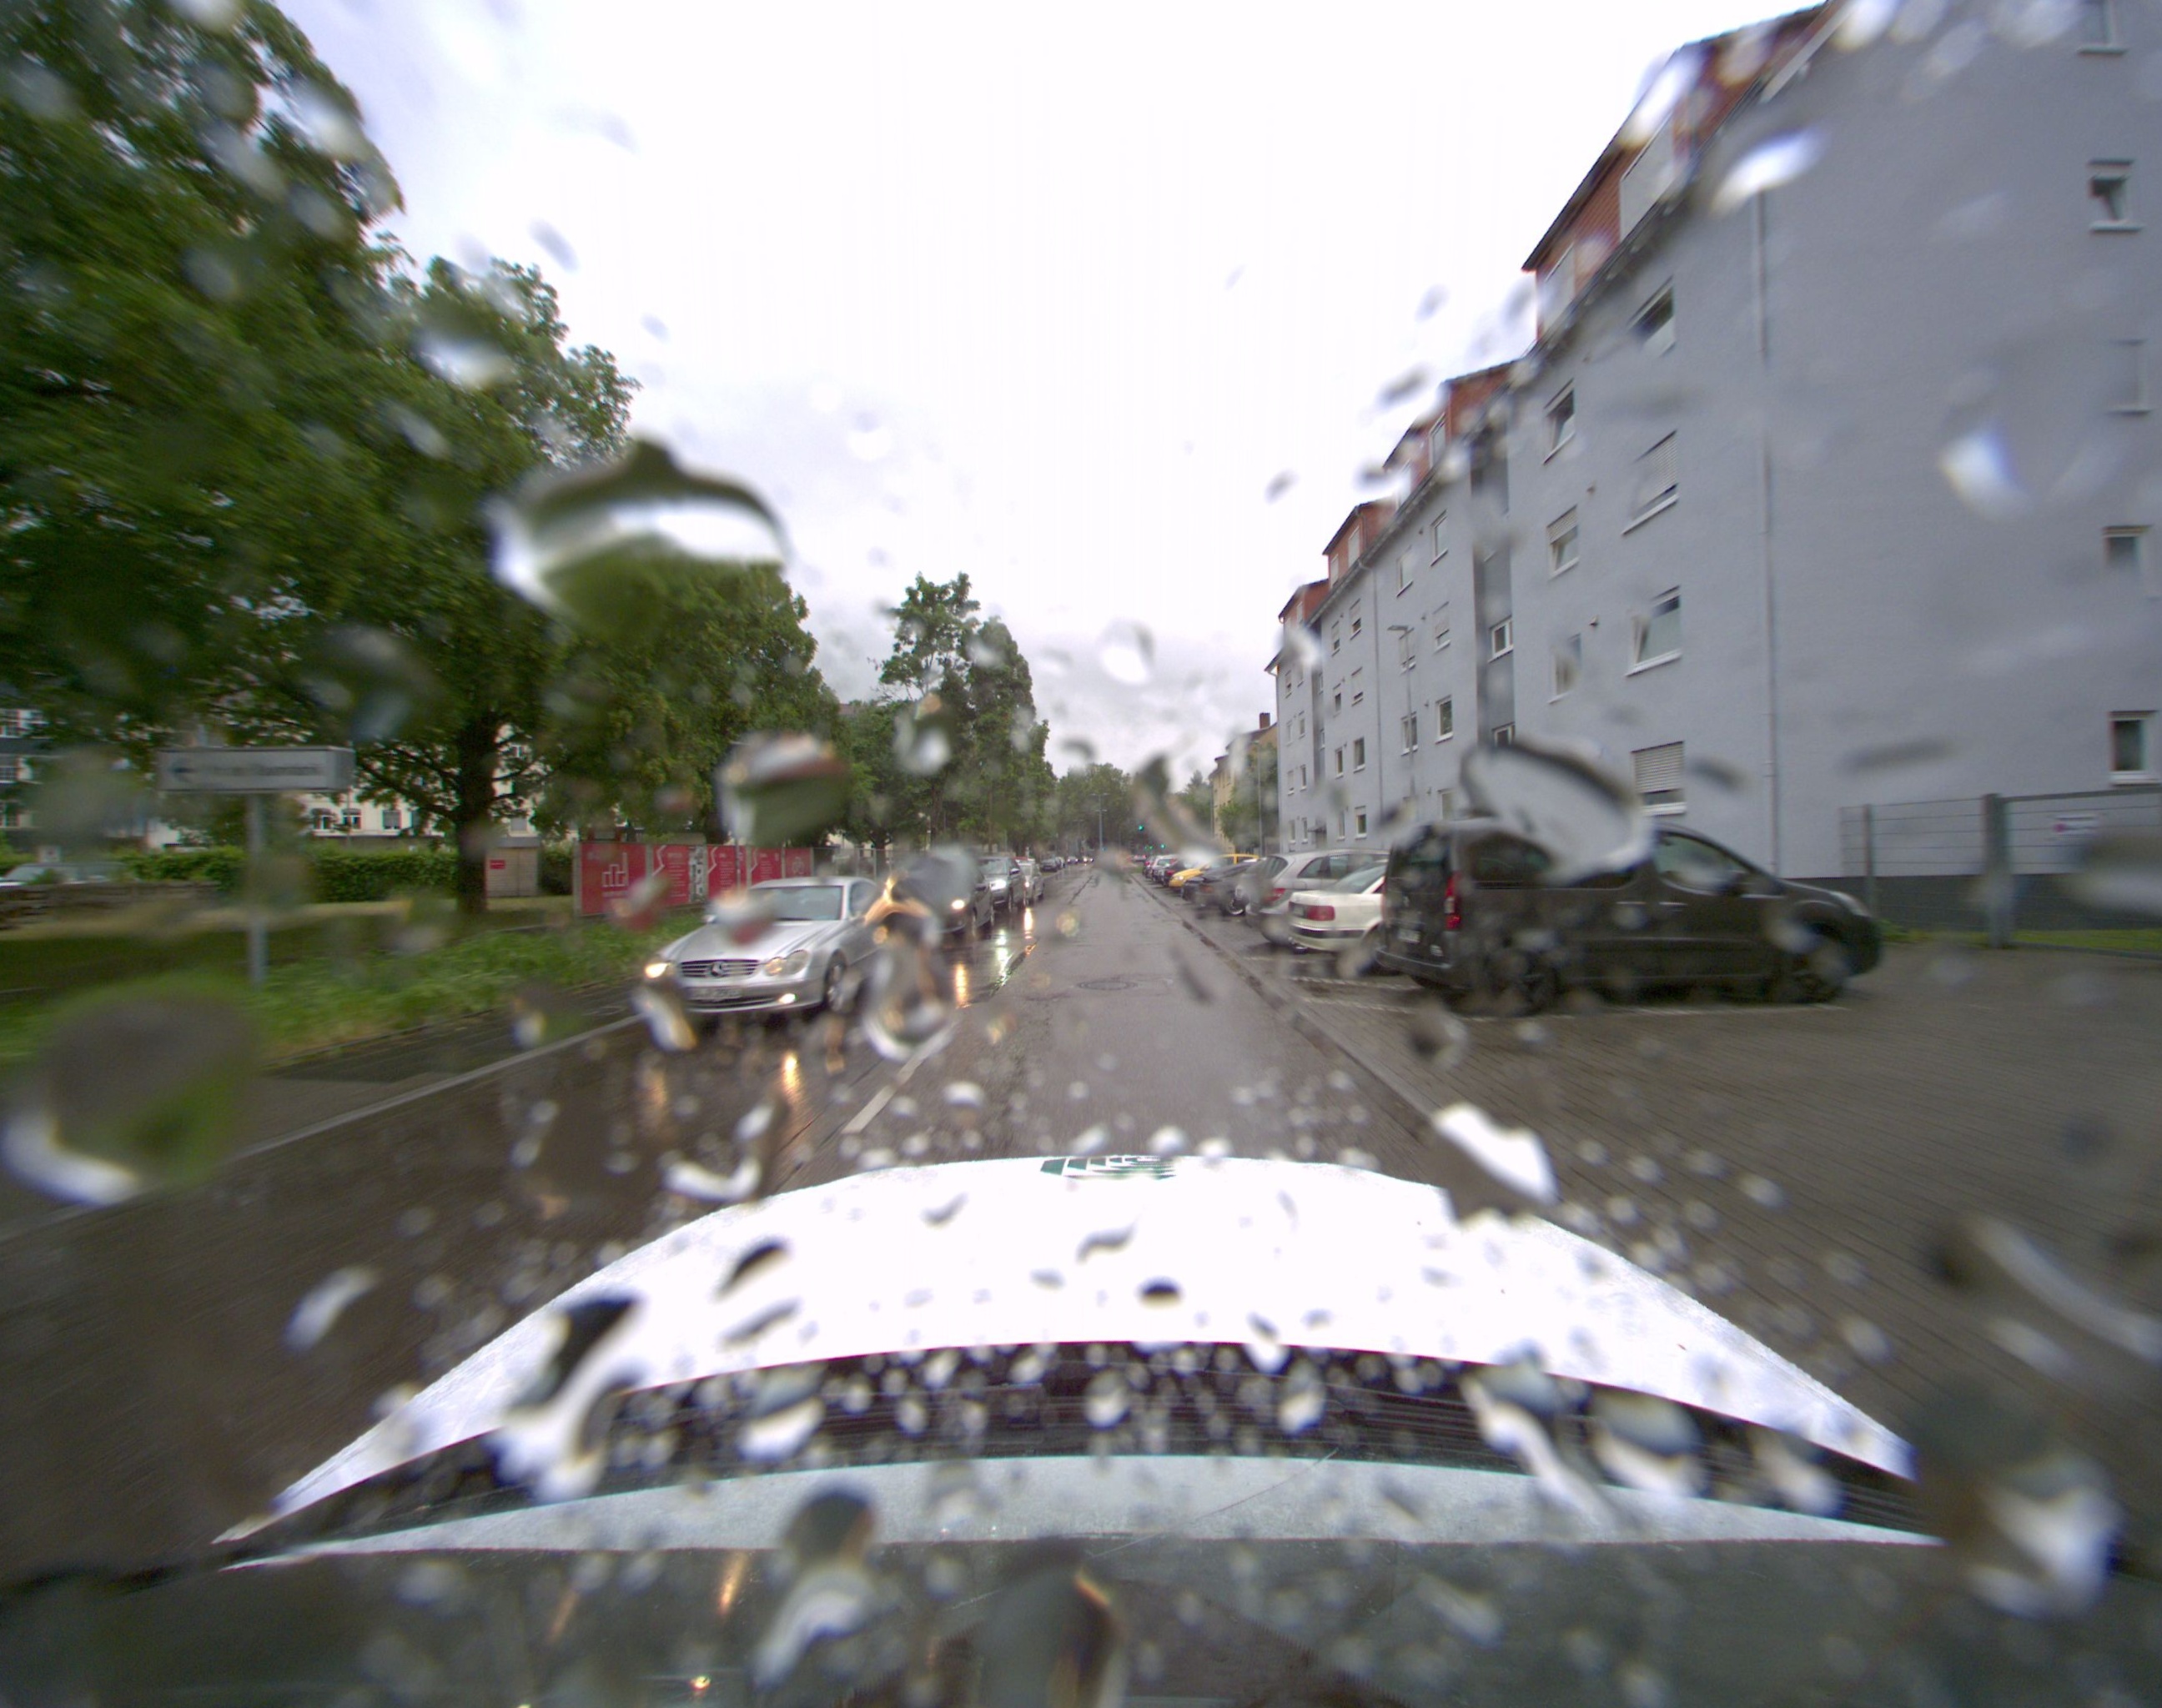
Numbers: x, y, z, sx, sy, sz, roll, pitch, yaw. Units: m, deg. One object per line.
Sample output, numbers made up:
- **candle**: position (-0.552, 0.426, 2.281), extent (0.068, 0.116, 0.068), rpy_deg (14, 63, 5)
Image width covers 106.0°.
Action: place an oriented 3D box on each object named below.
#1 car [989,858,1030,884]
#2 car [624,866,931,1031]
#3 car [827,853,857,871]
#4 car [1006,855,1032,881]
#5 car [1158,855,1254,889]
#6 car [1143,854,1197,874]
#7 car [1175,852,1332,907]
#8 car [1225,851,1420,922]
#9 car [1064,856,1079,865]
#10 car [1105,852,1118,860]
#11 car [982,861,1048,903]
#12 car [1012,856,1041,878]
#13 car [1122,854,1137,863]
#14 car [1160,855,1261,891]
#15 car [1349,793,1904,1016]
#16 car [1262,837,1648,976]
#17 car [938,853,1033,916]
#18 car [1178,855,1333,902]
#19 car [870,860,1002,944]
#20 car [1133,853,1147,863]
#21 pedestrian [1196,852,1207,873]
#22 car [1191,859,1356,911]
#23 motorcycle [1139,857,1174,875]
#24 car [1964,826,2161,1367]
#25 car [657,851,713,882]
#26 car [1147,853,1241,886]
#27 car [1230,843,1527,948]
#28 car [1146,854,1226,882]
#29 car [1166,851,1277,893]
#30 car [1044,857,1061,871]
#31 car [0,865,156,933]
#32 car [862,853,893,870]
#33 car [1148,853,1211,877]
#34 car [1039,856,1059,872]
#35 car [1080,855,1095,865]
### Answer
- **car**: position (-4.101, 0.956, 47.344), extent (1.653, 1.460, 4.179), rpy_deg (0, -1, 5)
- **car**: position (-3.105, 0.867, 9.562), extent (1.769, 1.403, 4.829), rpy_deg (0, -1, 0)
- **car**: position (-20.278, 0.688, 68.999), extent (1.715, 1.434, 3.615), rpy_deg (0, -1, -30)
- **car**: position (-3.999, 0.909, 52.715), extent (1.622, 1.598, 4.195), rpy_deg (0, -1, -4)
- **car**: position (5.550, 0.784, 36.577), extent (4.080, 1.458, 2.002), rpy_deg (-1, 0, 3)
- **car**: position (6.702, 0.787, 61.886), extent (3.971, 1.461, 1.935), rpy_deg (0, -1, 2)
- **car**: position (4.868, 0.722, 23.477), extent (4.128, 1.486, 2.013), rpy_deg (0, -1, 1)
- **car**: position (5.306, 0.698, 18.263), extent (3.842, 1.454, 1.836), rpy_deg (-1, 0, -1)
- **car**: position (-1.578, 1.174, 138.509), extent (1.993, 1.486, 3.987), rpy_deg (0, -1, -9)
- **car**: position (5.930, 0.458, 157.286), extent (1.848, 1.524, 3.990), rpy_deg (-1, 0, -7)
- **car**: position (-2.306, 0.962, 29.589), extent (1.664, 1.383, 4.258), rpy_deg (-1, 0, 5)
- **car**: position (-4.047, 0.967, 61.038), extent (1.762, 1.529, 4.598), rpy_deg (0, -1, 1)
- **car**: position (8.393, 0.794, 142.449), extent (1.848, 1.524, 4.143), rpy_deg (-1, 0, -7)
- **car**: position (5.344, 0.781, 33.974), extent (3.973, 1.442, 1.782), rpy_deg (0, -1, 1)
- **car**: position (5.120, 0.433, 8.103), extent (4.221, 1.805, 1.943), rpy_deg (-2, -1, -2)
- **car**: position (4.674, 0.629, 10.662), extent (4.176, 1.568, 1.888), rpy_deg (-1, -1, -1)
- **car**: position (-2.636, 0.818, 23.553), extent (1.906, 1.639, 4.825), rpy_deg (0, -1, 3)
- **car**: position (5.483, 0.770, 26.086), extent (4.608, 1.436, 2.002), rpy_deg (0, -1, 3)
- **car**: position (-2.808, 0.876, 16.708), extent (1.772, 1.420, 4.267), rpy_deg (-2, 0, 2)
- **car**: position (9.263, 0.691, 128.041), extent (1.845, 1.524, 3.995), rpy_deg (-1, 0, -3)
- **pedestrian**: position (11.241, 0.785, 75.935), extent (1.004, 2.014, 0.955), rpy_deg (0, -1, 11)
- **car**: position (4.844, 0.778, 20.935), extent (3.837, 1.207, 1.957), rpy_deg (-1, 0, 3)
- **motorcycle**: position (5.479, 0.862, 59.032), extent (2.393, 1.324, 0.918), rpy_deg (0, -1, -3)
- **car**: position (5.161, 0.593, 1.650), extent (4.516, 1.470, 1.984), rpy_deg (-2, -1, 1)
- **car**: position (-21.556, 0.700, 44.296), extent (2.009, 1.557, 3.955), rpy_deg (-1, -1, -37)
- **car**: position (5.454, 0.738, 39.719), extent (4.326, 1.552, 2.040), rpy_deg (0, -1, 1)
- **car**: position (4.682, 0.635, 13.276), extent (4.167, 1.572, 1.890), rpy_deg (0, -1, 0)
- **car**: position (5.739, 0.772, 44.679), extent (4.246, 1.454, 1.988), rpy_deg (0, 1, 7)
- **car**: position (5.349, 0.694, 31.363), extent (3.974, 1.552, 1.852), rpy_deg (0, -1, 0)
- **car**: position (-3.338, 1.150, 95.869), extent (1.923, 1.484, 3.998), rpy_deg (-2, 0, -1)
- **car**: position (-26.456, 1.101, 21.104), extent (1.805, 1.583, 3.967), rpy_deg (-1, 0, -25)
- **car**: position (-17.659, 0.611, 70.631), extent (1.715, 1.434, 3.615), rpy_deg (0, -1, -30)
- **car**: position (6.563, 0.722, 54.550), extent (3.974, 1.552, 1.905), rpy_deg (0, -1, 0)
- **car**: position (-3.236, 0.981, 81.058), extent (1.773, 1.530, 3.993), rpy_deg (0, 1, -5)
- **car**: position (1.132, 1.137, 152.777), extent (1.744, 1.689, 3.976), rpy_deg (0, -1, -17)
